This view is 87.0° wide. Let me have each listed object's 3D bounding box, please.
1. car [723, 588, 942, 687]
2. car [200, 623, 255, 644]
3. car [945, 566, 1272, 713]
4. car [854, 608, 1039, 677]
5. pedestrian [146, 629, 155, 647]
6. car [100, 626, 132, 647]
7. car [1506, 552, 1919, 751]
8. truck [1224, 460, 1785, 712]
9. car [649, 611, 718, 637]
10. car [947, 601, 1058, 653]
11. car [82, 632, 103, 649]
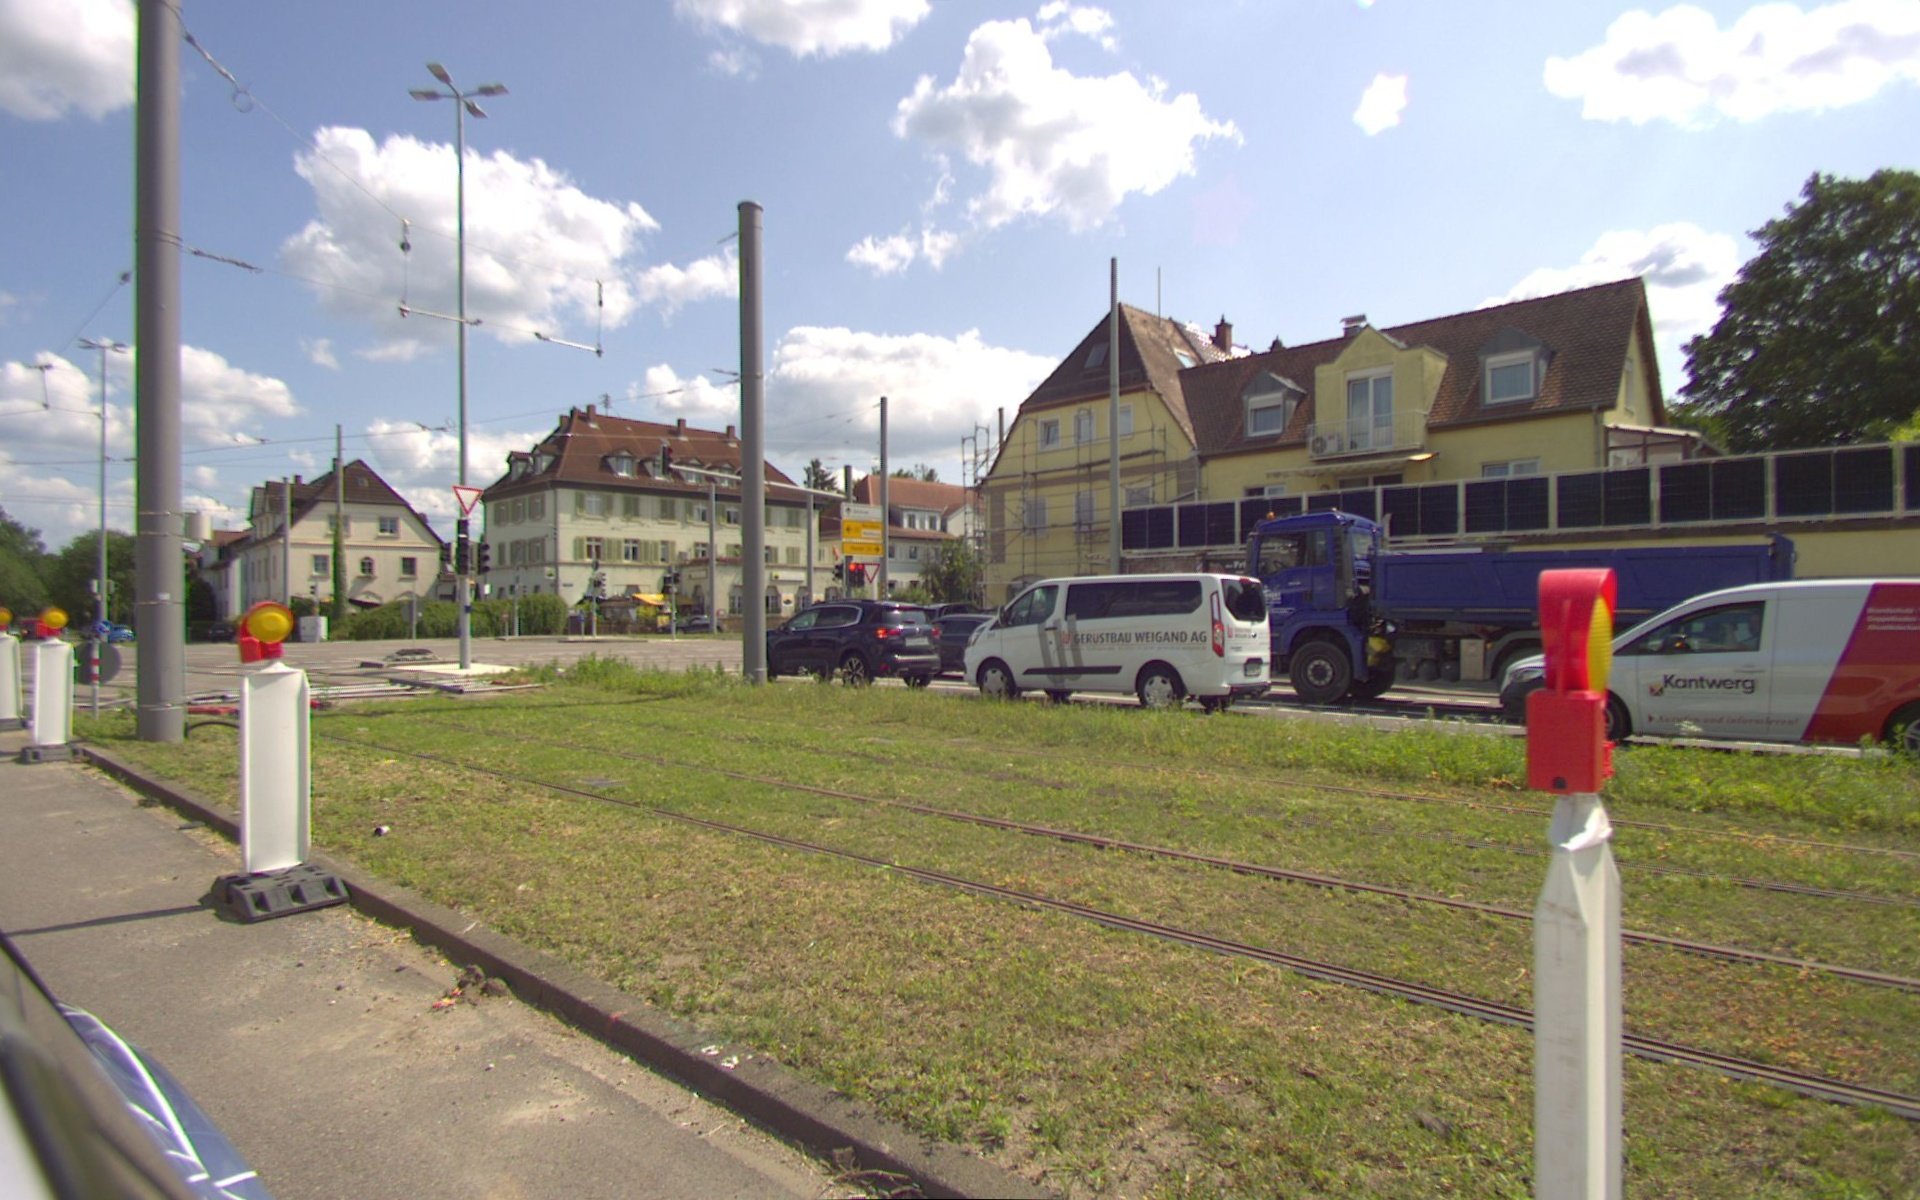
[{"bbox_3d":[-2.598,0.723,19.924,4.438,1.734,1.768,-2,-2,41],"label":"car"},{"bbox_3d":[-52.626,2.403,72.799,1.733,1.397,4.112,-1,-1,-13],"label":"car"},{"bbox_3d":[2.157,0.555,15.579,4.743,1.936,1.796,-1,-1,39],"label":"car"},{"bbox_3d":[-0.401,0.945,23.996,4.333,1.498,1.808,-1,-1,42],"label":"car"},{"bbox_3d":[-71.199,3.348,89.030,0.622,1.547,0.619,0,-2,-40],"label":"pedestrian"},{"bbox_3d":[-63.958,2.764,76.664,1.685,1.473,3.158,0,-2,-43],"label":"car"},{"bbox_3d":[8.337,0.487,10.570,4.400,1.795,1.715,-1,-1,39],"label":"car"},{"bbox_3d":[8.414,-0.133,16.371,7.575,3.212,2.741,-1,-1,39],"label":"truck"},{"bbox_3d":[-17.421,1.505,63.814,1.747,1.596,3.869,-2,-1,43],"label":"car"},{"bbox_3d":[1.476,0.859,33.674,1.505,1.504,4.094,-2,1,39],"label":"car"},{"bbox_3d":[-85.306,3.960,99.521,1.539,1.667,3.579,0,-2,-40],"label":"car"}]
